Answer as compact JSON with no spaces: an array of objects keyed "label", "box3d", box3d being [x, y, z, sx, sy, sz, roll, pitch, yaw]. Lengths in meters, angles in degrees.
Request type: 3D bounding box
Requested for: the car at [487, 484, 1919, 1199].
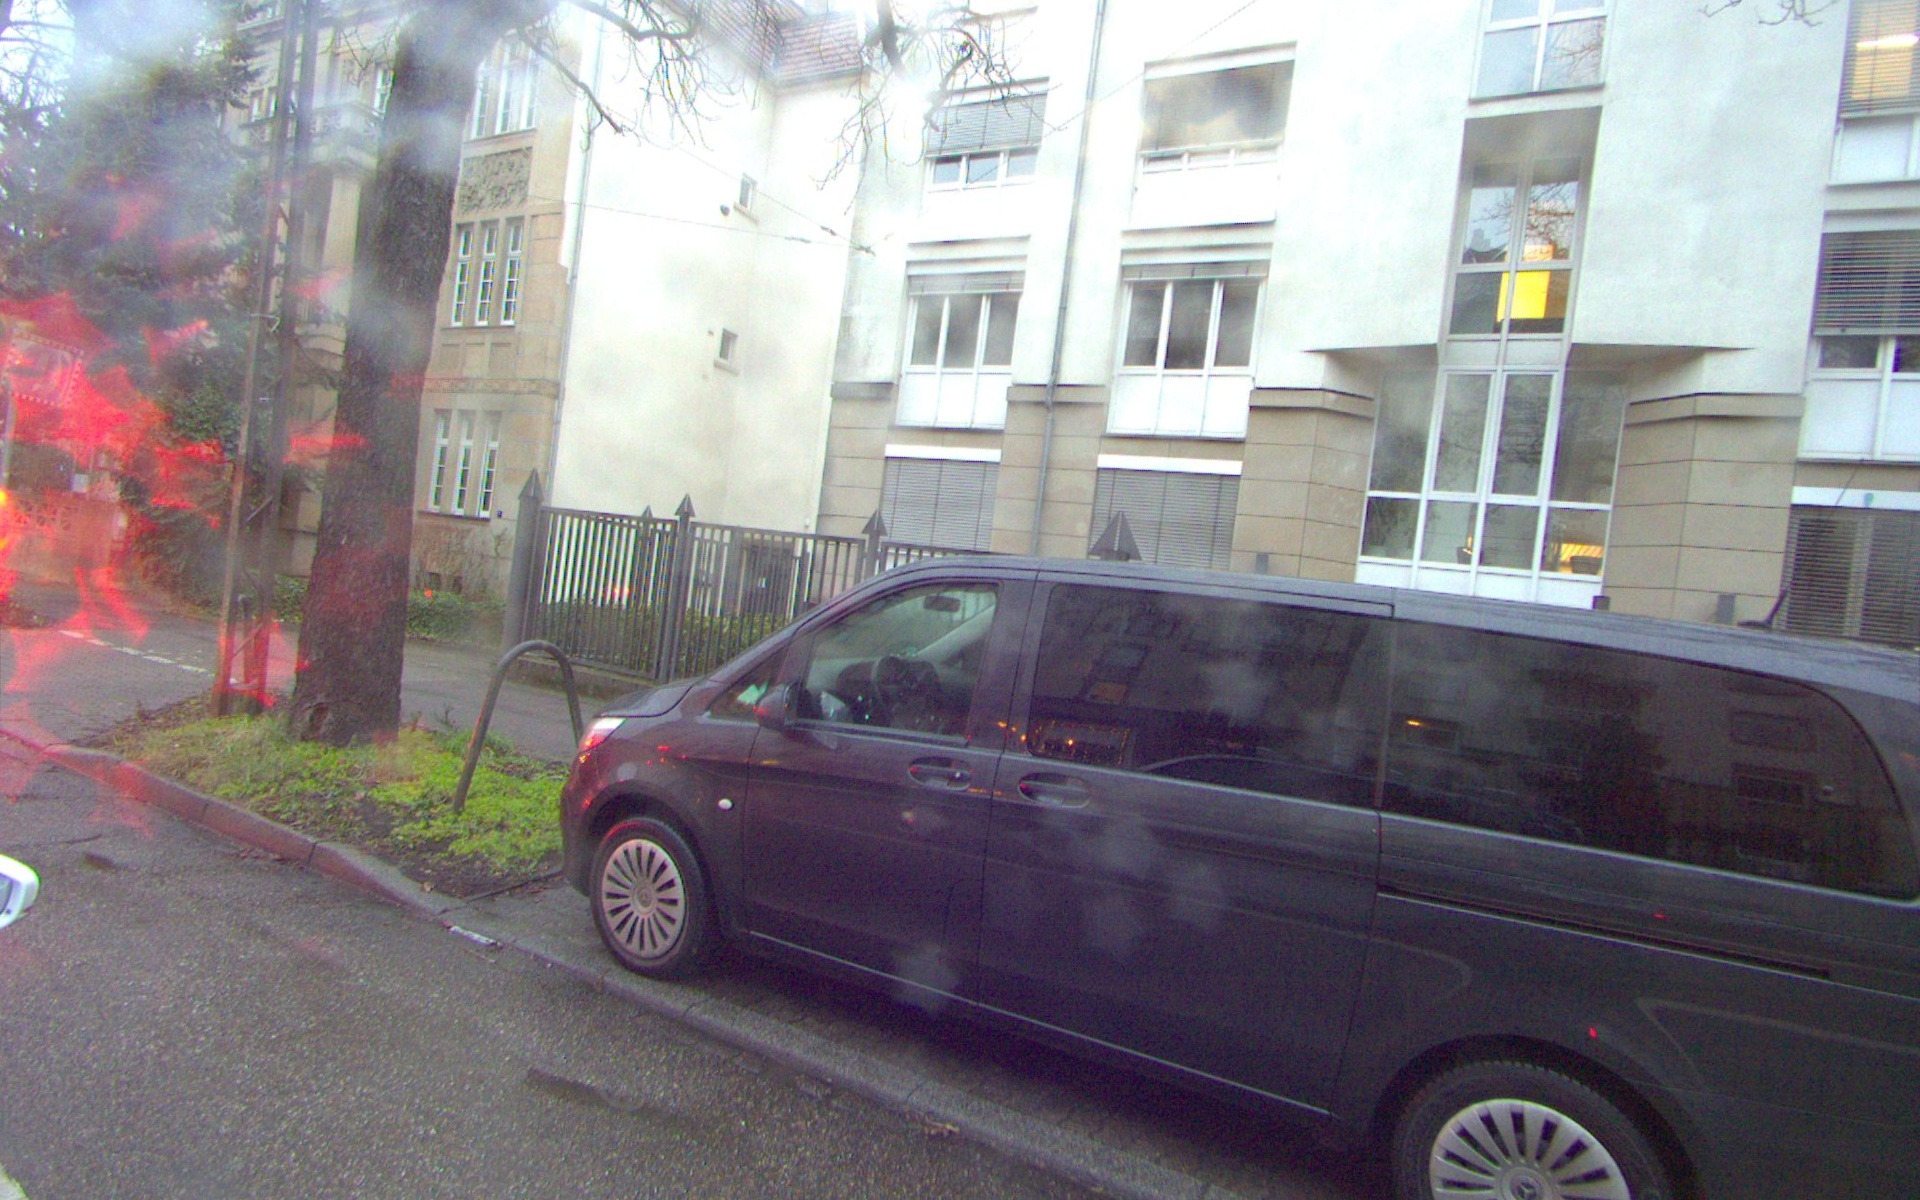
[{"label":"car","box3d":[0.690,0.783,4.046,4.877,1.899,2.035,7,0,28]}]
